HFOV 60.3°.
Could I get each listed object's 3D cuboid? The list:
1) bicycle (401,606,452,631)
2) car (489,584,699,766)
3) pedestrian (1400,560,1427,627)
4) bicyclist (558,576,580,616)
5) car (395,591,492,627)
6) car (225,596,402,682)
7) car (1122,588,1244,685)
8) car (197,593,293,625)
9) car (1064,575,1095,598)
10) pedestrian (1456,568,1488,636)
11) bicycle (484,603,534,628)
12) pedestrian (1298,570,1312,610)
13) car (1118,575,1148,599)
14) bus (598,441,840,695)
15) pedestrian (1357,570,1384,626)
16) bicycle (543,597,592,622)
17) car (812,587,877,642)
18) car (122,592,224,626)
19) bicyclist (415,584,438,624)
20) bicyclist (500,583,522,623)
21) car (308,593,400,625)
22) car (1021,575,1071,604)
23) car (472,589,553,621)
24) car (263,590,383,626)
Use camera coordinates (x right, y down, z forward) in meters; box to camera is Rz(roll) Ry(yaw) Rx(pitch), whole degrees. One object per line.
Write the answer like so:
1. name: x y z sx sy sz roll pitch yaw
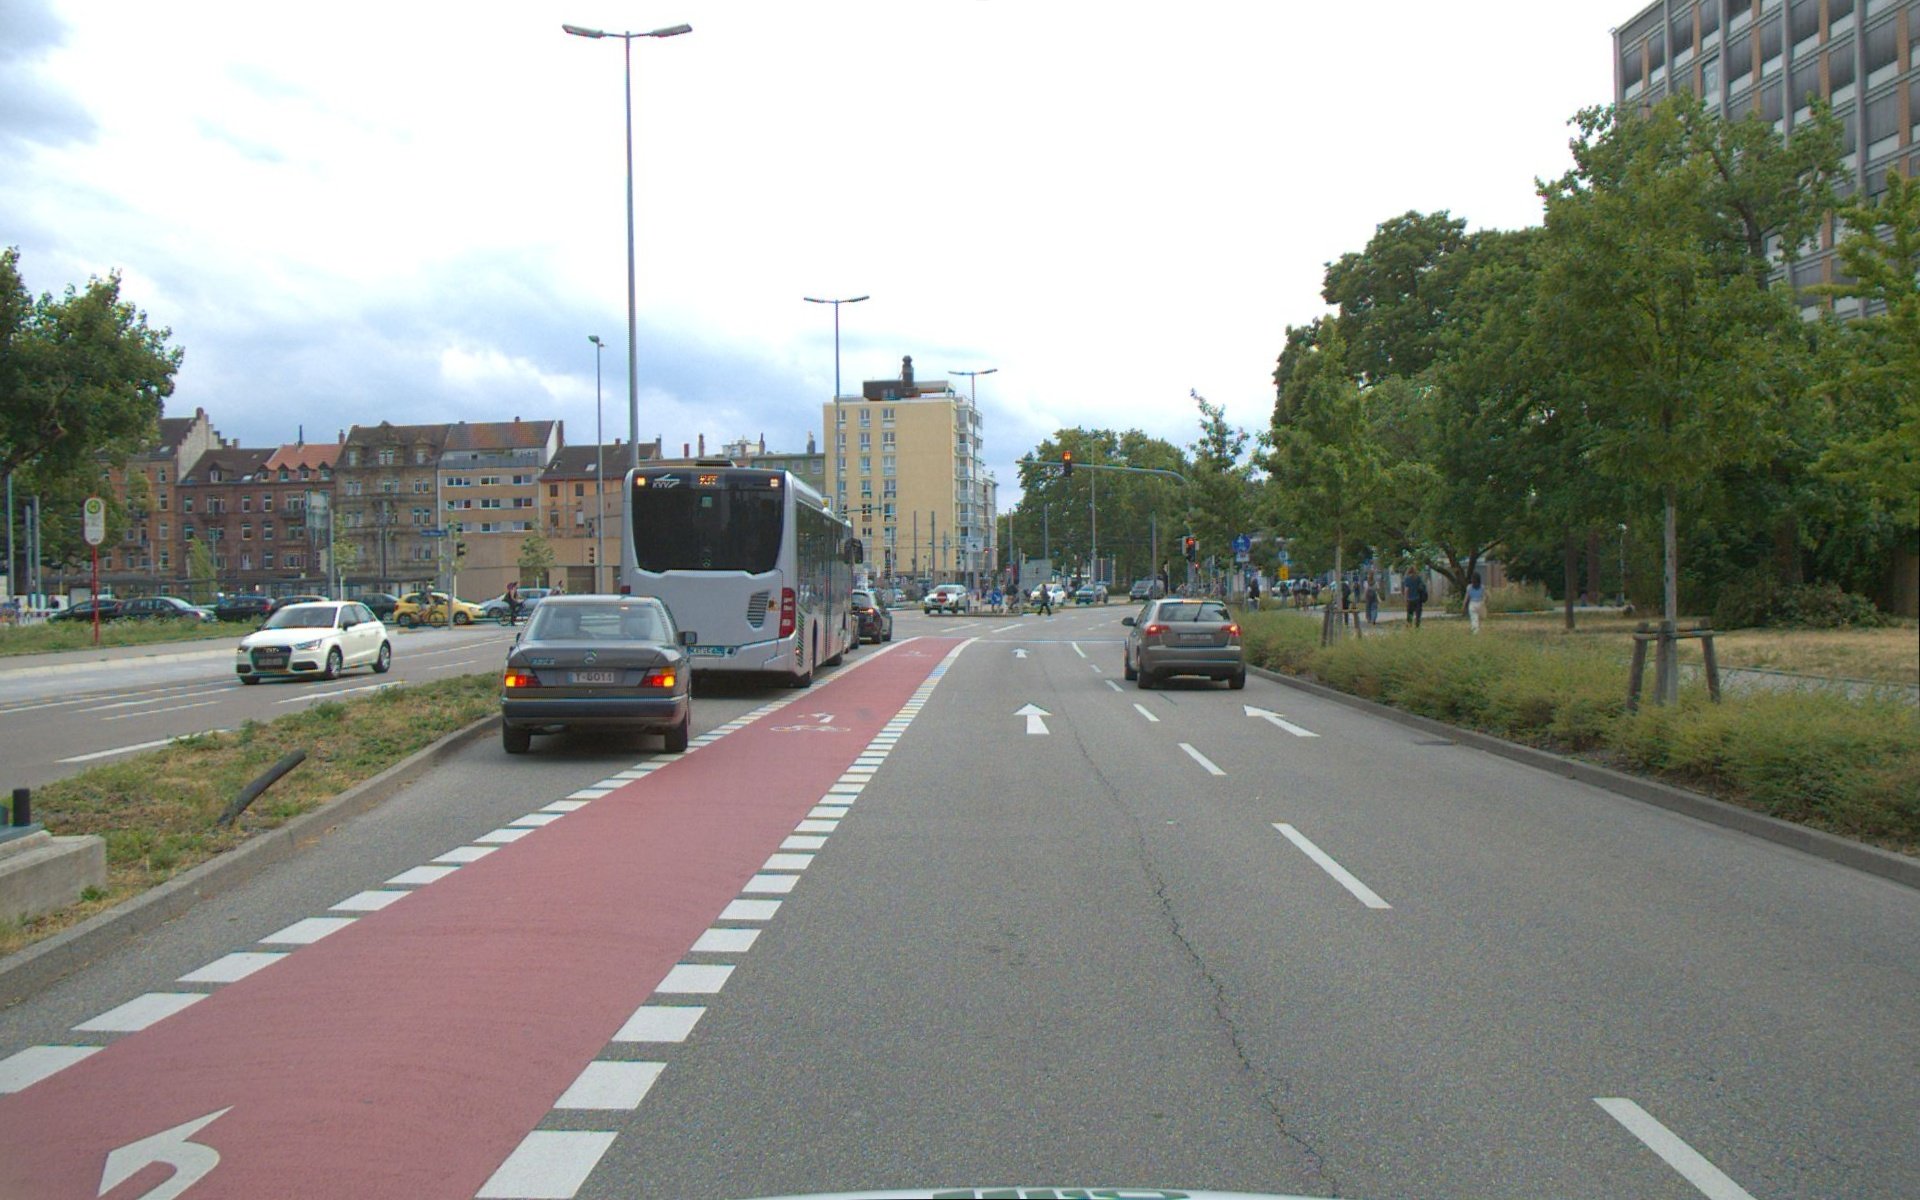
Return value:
1. bicycle: -22.627 0.784 70.158 1.925 0.999 0.630 -1 0 -4
2. car: -3.446 0.615 16.197 1.729 1.515 4.162 -1 1 -9
3. pedestrian: 11.944 -0.166 43.553 0.632 1.743 0.562 -1 0 16
4. bicyclist: -16.606 -0.171 70.211 0.770 1.672 0.613 -1 0 -2
5. car: -22.681 0.387 72.756 3.780 1.544 1.659 0 0 -4
6. car: -11.987 0.682 30.943 1.636 1.413 3.923 -2 1 2
7. car: 3.675 0.556 27.800 1.688 1.483 3.737 -1 1 2
8. car: -32.924 0.390 76.212 3.689 1.419 1.583 1 0 -4
9. car: 10.002 -1.121 138.240 1.768 1.883 4.003 -1 1 15
10. pedestrian: 11.541 0.040 37.269 0.643 1.496 0.562 -1 0 18
11. bicycle: -19.201 0.651 70.435 1.924 0.999 0.631 -1 0 0
12. pedestrian: 17.763 -0.519 85.235 0.601 2.049 0.597 -1 0 0
13. car: 15.835 -1.208 151.460 1.951 2.049 4.003 -1 1 17
14. bus: -3.605 -0.495 26.826 2.774 3.449 8.182 -1 1 -1
15. pedestrian: 12.883 -0.064 51.932 0.785 1.743 0.765 -1 0 14
16. bicycle: -16.655 0.393 70.206 1.924 0.999 0.631 -1 0 -2
17. car: -3.162 0.371 45.835 1.621 1.421 3.859 -1 1 -1
18. car: -34.312 0.372 72.191 3.689 1.419 1.583 1 0 -4
19. bicyclist: -22.629 0.172 70.164 0.771 1.672 0.572 -1 0 -4
20. bicyclist: -19.123 0.124 70.429 0.770 1.672 0.572 -1 0 0
21. car: -28.063 0.412 76.690 3.689 1.419 1.583 1 0 -4
22. car: 6.758 -0.817 129.005 2.529 2.146 5.603 -1 1 18
23. car: -21.044 0.235 77.801 3.616 1.419 1.576 0 0 -19
24. car: -27.768 0.352 72.157 4.577 1.501 1.659 1 0 -4
